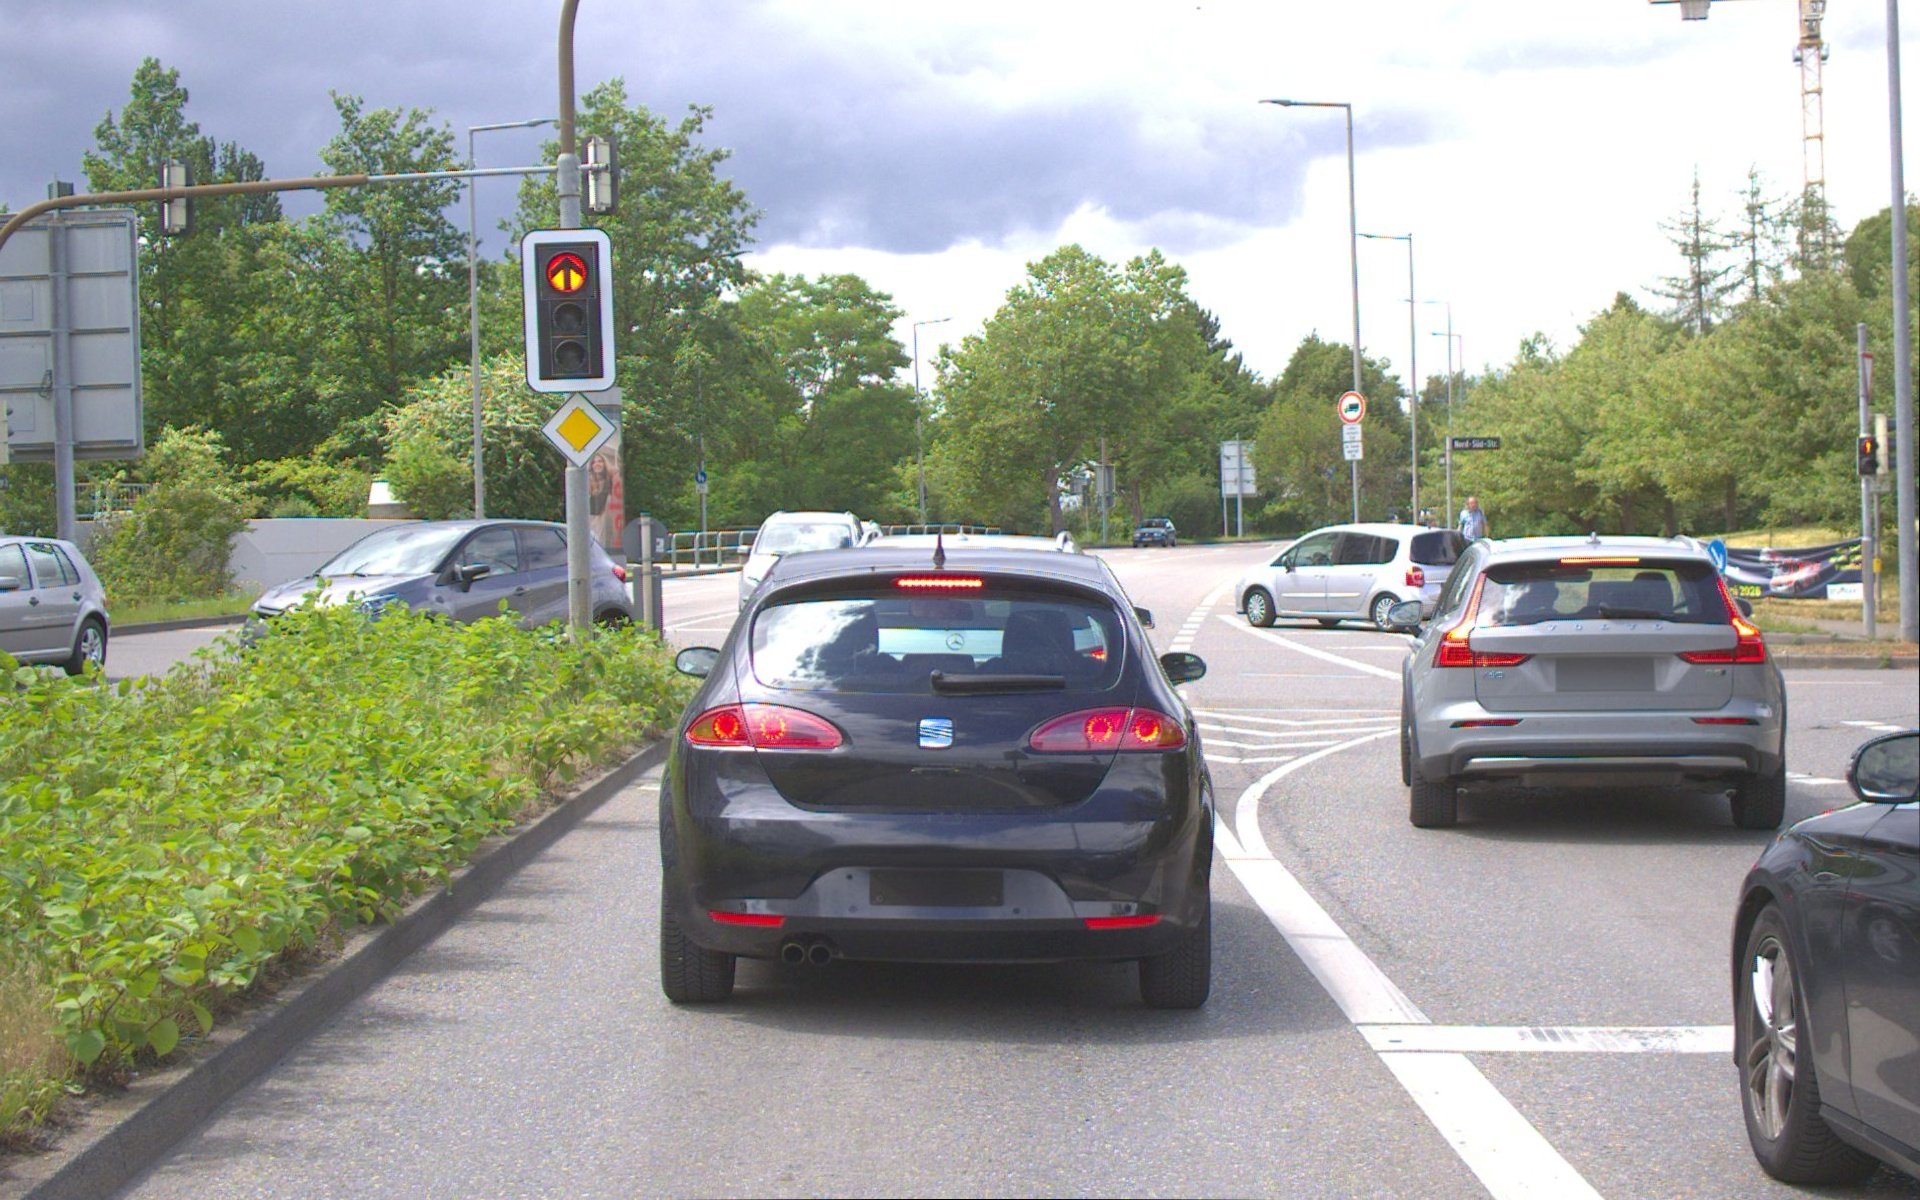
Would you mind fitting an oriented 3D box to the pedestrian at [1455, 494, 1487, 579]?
[{"bbox_3d":[10.453,-1.296,70.319,0.559,1.720,0.588,0,1,1],"label":"pedestrian"}]

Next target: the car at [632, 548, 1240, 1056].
[{"bbox_3d":[-0.081,0.565,11.864,1.773,1.447,3.582,0,1,0],"label":"car"}]

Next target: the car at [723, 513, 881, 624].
[{"bbox_3d":[-2.331,-0.502,51.838,1.994,1.590,4.000,0,1,3],"label":"car"}]

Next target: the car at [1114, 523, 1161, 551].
[{"bbox_3d":[8.782,-3.116,169.653,1.994,1.347,3.999,0,1,8],"label":"car"}]

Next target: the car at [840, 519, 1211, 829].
[{"bbox_3d":[0.264,0.325,18.804,1.773,1.486,3.583,-1,1,-2],"label":"car"}]

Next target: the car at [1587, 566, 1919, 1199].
[{"bbox_3d":[2.741,0.689,6.440,1.872,1.436,5.201,-2,1,-3],"label":"car"}]

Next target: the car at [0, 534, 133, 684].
[{"bbox_3d":[-9.599,0.082,32.194,1.995,1.349,3.998,0,2,14],"label":"car"}]

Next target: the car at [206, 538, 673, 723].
[{"bbox_3d":[-4.658,0.223,31.225,1.939,1.511,3.992,1,2,36],"label":"car"}]

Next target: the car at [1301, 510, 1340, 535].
[{"bbox_3d":[19.698,-4.247,187.682,1.994,1.347,3.999,0,1,8],"label":"car"}]

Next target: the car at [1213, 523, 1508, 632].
[{"bbox_3d":[5.883,-0.367,50.788,1.994,1.525,3.998,-2,2,-42],"label":"car"}]

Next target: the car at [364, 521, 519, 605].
[{"bbox_3d":[-8.603,-0.643,57.347,1.993,1.347,4.000,0,1,0],"label":"car"}]

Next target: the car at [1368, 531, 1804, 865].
[{"bbox_3d":[3.222,0.422,18.490,1.863,1.513,4.446,-1,1,5],"label":"car"}]
